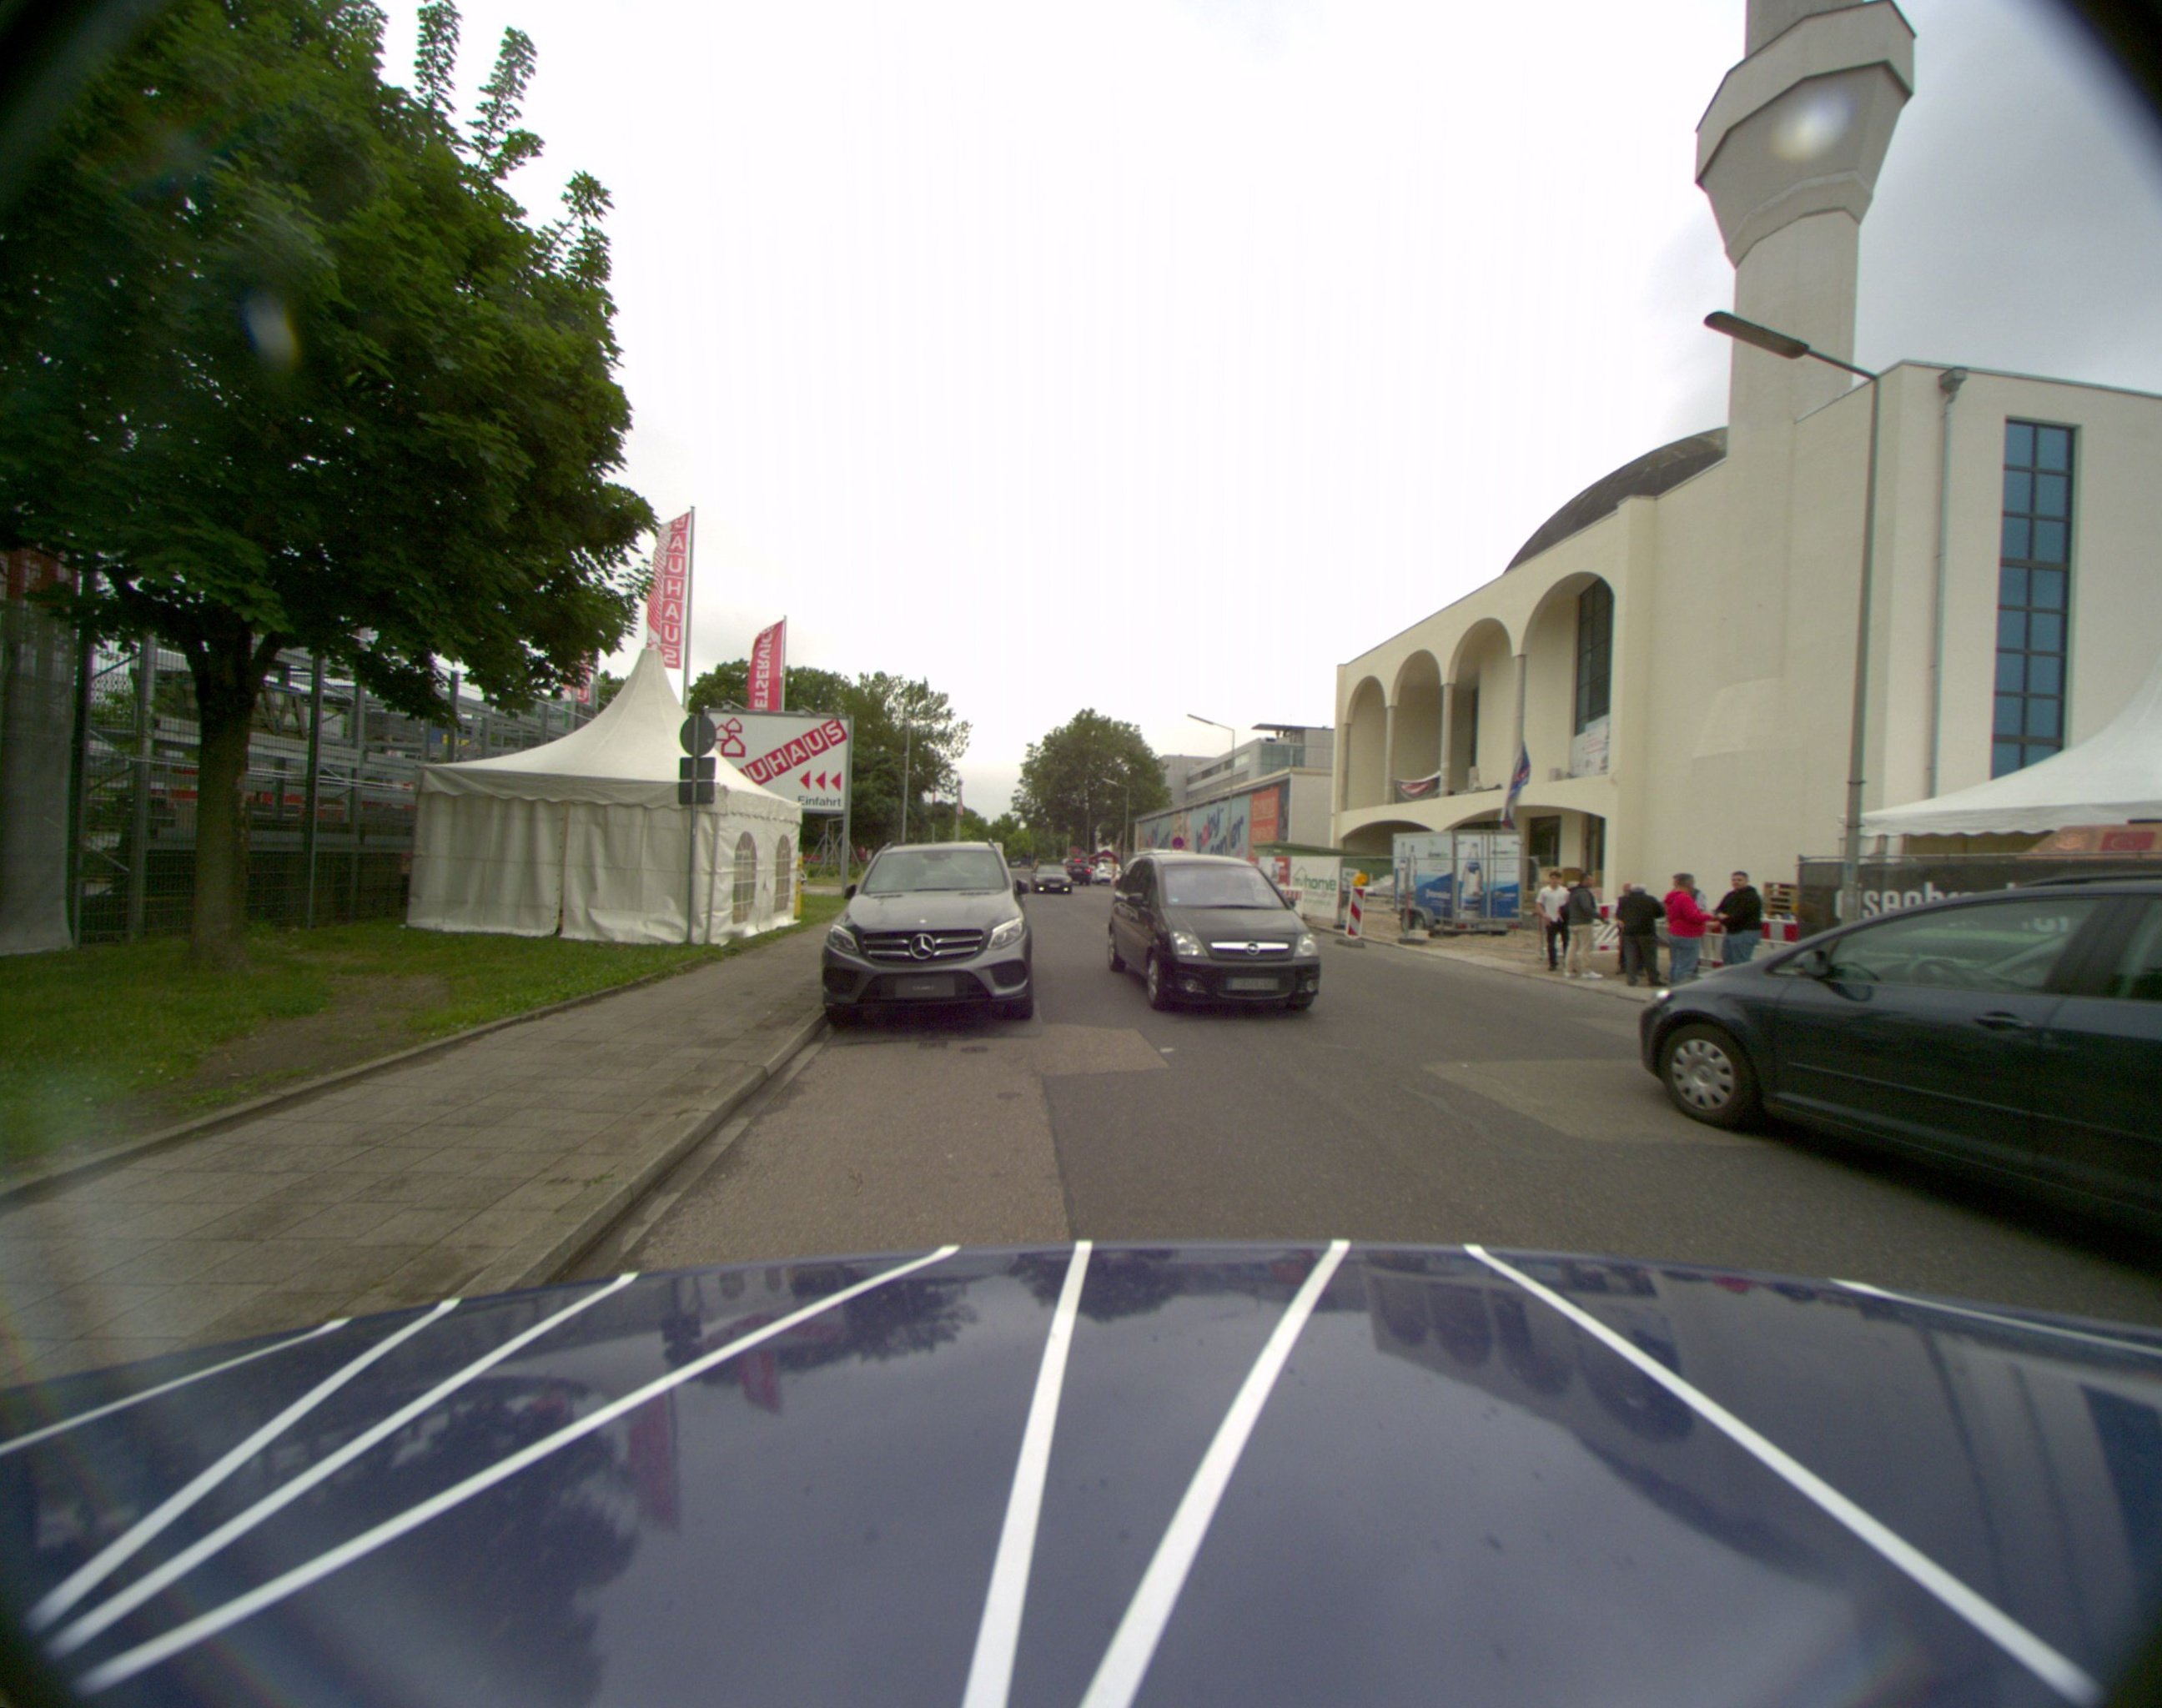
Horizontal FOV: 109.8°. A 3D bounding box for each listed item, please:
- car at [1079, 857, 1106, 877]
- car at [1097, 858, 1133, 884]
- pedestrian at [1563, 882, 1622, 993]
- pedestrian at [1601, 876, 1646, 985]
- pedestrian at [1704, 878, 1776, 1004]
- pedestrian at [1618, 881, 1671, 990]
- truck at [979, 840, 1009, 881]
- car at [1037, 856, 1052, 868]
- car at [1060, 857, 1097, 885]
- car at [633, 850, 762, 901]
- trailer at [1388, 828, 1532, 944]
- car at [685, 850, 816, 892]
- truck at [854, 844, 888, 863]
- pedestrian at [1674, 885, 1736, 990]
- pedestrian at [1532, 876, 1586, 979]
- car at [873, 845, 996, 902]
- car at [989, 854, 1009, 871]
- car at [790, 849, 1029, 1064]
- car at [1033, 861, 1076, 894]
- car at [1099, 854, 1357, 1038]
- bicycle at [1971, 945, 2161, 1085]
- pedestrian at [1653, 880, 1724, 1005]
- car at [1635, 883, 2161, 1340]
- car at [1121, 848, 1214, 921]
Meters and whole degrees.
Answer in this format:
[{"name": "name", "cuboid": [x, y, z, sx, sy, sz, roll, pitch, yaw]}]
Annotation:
[{"name": "car", "cuboid": [1.032, 1.183, 70.488, 1.930, 1.564, 4.147, 5, 0, -5]}, {"name": "car", "cuboid": [2.358, 1.183, 54.220, 1.930, 1.564, 4.147, 5, 0, -5]}, {"name": "pedestrian", "cuboid": [8.390, 1.341, 12.469, 0.689, 1.739, 0.492, 3, 0, 39]}, {"name": "pedestrian", "cuboid": [9.090, 1.258, 12.730, 0.527, 1.739, 0.492, 3, 0, 39]}, {"name": "pedestrian", "cuboid": [9.394, 1.211, 10.861, 0.694, 1.707, 0.689, -2, -2, 38]}, {"name": "pedestrian", "cuboid": [8.688, 1.226, 11.713, 0.570, 1.602, 0.492, 3, 0, 39]}, {"name": "truck", "cuboid": [-5.795, 0.394, 50.882, 1.854, 2.597, 3.997, -1, 0, -6]}, {"name": "car", "cuboid": [-5.192, 1.079, 108.558, 1.930, 1.564, 3.998, 3, 0, -5]}, {"name": "car", "cuboid": [-0.222, 1.090, 50.623, 1.965, 1.652, 4.651, 4, 0, -6]}, {"name": "car", "cuboid": [-12.649, 0.685, 25.318, 3.694, 1.575, 1.773, 0, 0, -21]}, {"name": "trailer", "cuboid": [9.363, 0.750, 19.081, 1.803, 2.591, 3.190, 2, 0, -3]}, {"name": "car", "cuboid": [-12.285, 0.626, 28.454, 4.114, 1.412, 1.730, 1, 0, -5]}, {"name": "truck", "cuboid": [-27.928, -0.014, 101.027, 1.994, 2.382, 4.009, 2, 0, 34]}, {"name": "pedestrian", "cuboid": [9.840, 1.304, 11.996, 0.541, 1.602, 0.490, 0, 1, -9]}, {"name": "pedestrian", "cuboid": [8.425, 1.276, 13.403, 0.689, 1.739, 0.492, 3, 0, 39]}, {"name": "car", "cuboid": [-5.551, 0.743, 29.258, 4.383, 1.797, 1.799, 4, 0, -7]}, {"name": "car", "cuboid": [-8.686, 0.883, 81.119, 1.999, 1.739, 3.998, 2, 0, -5]}, {"name": "car", "cuboid": [-1.609, 0.839, 8.537, 1.914, 1.731, 4.477, -1, 0, -5]}, {"name": "car", "cuboid": [-1.302, 1.048, 35.392, 1.751, 1.351, 4.135, 0, 1, -5]}, {"name": "car", "cuboid": [1.400, 0.850, 8.759, 1.686, 1.622, 3.755, 2, 0, -9]}, {"name": "bicycle", "cuboid": [9.994, 1.544, 7.329, 0.545, 1.071, 1.901, 2, 1, 0]}, {"name": "pedestrian", "cuboid": [8.238, 1.182, 10.307, 0.492, 1.602, 0.539, 3, 0, -34]}, {"name": "car", "cuboid": [4.763, 1.016, 3.153, 1.734, 1.562, 3.944, 3, 0, -6]}, {"name": "car", "cuboid": [2.615, 0.848, 24.213, 1.933, 2.002, 4.952, 2, 1, -5]}]
